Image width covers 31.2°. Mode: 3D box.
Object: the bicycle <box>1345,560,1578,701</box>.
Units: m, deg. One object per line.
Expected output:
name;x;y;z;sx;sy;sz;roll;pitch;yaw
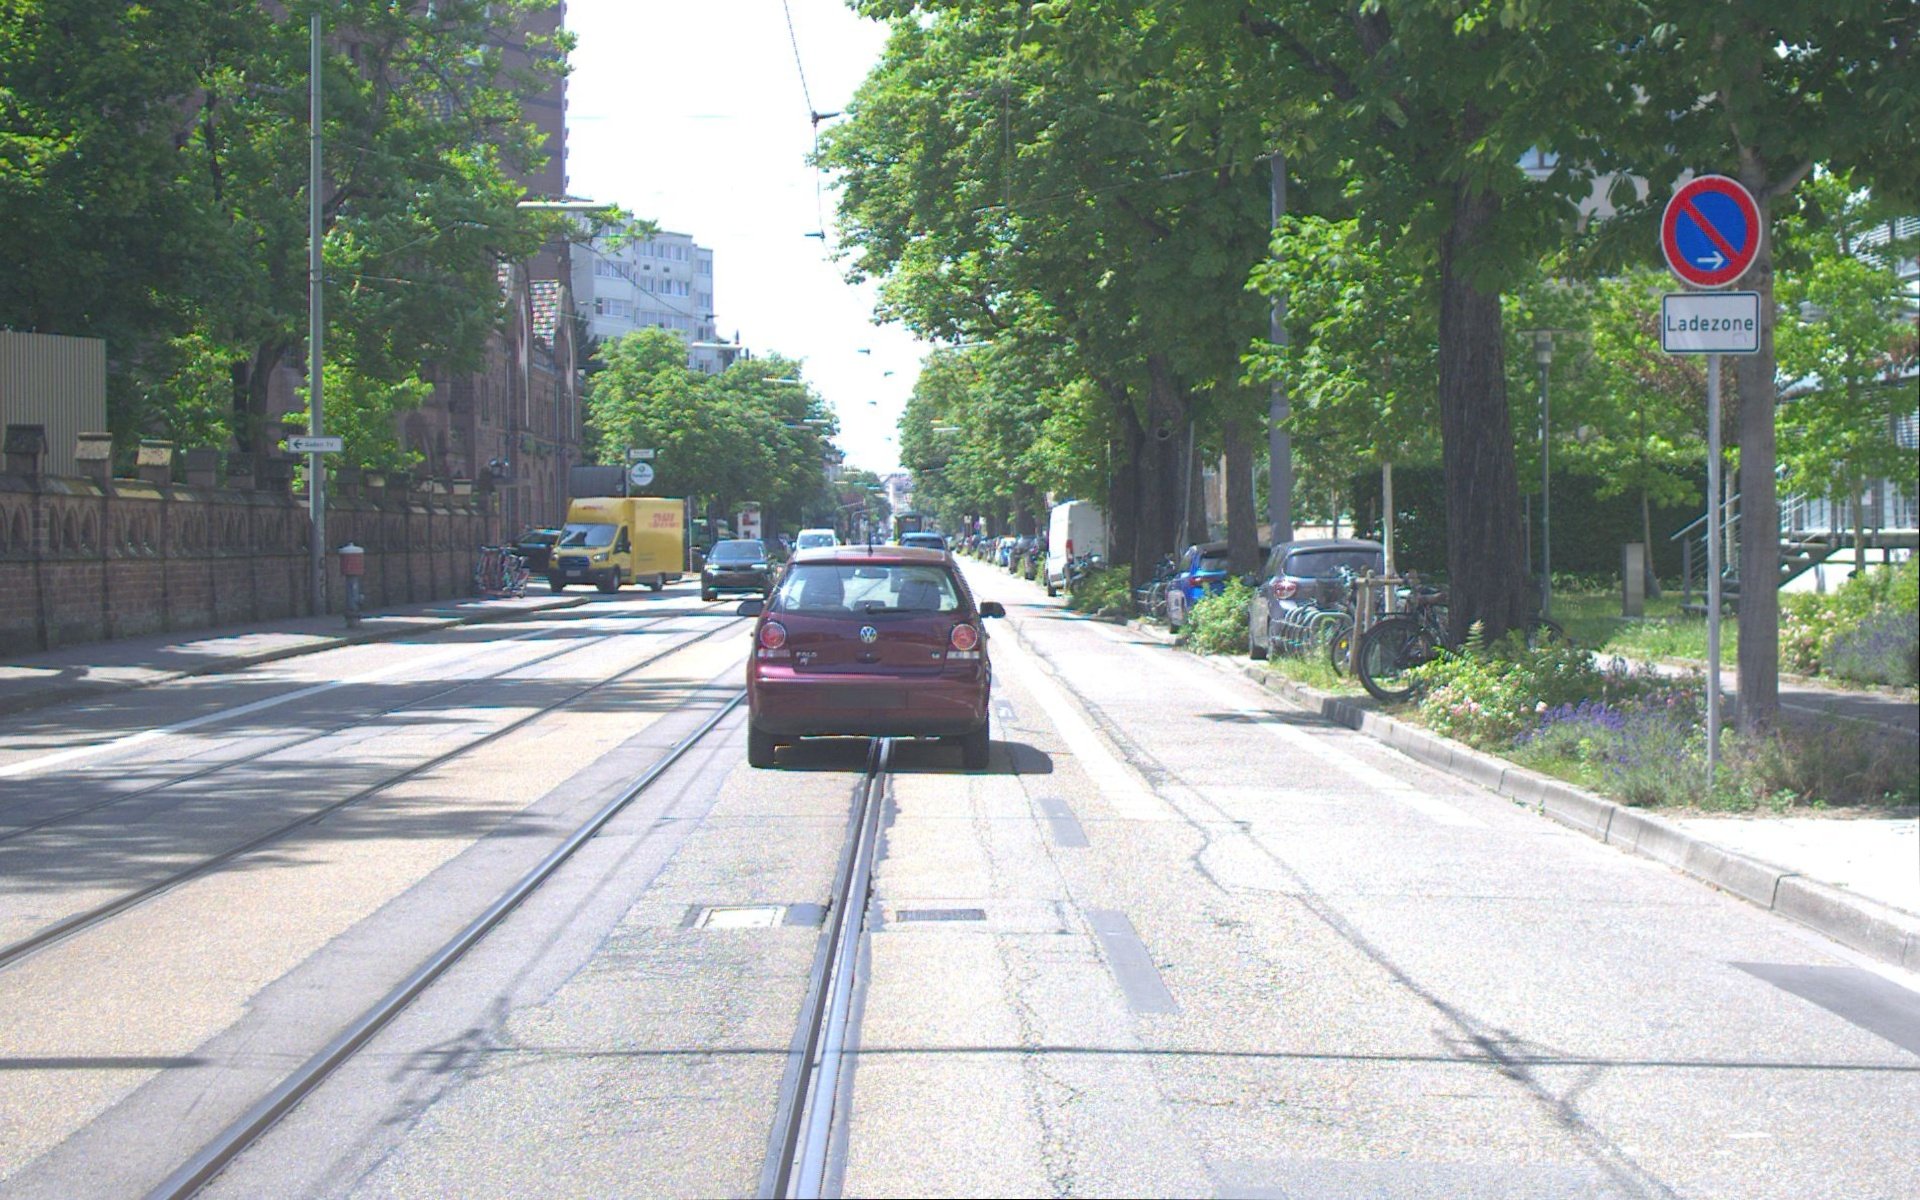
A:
bicycle;4.313;0.256;29.628;1.883;1.178;0.694;-1;1;0

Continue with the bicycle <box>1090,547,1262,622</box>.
bicycle;3.984;-0.286;63.569;3.069;1.308;0.782;1;1;-2

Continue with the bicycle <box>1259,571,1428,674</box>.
bicycle;4.131;0.237;37.048;1.751;1.081;0.548;0;1;0

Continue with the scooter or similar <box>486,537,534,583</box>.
scooter or similar;-11.498;-1.018;87.840;1.088;1.151;0.527;1;1;-21

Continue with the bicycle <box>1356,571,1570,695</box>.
bicycle;4.495;0.295;30.790;1.825;1.081;0.718;-1;0;3

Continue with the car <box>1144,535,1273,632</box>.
car;3.876;-0.284;54.123;1.688;1.463;3.880;0;1;-1

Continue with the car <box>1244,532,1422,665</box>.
car;4.492;-0.051;41.816;1.688;1.497;3.628;-2;1;-1

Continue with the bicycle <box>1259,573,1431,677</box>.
bicycle;4.075;0.259;36.429;1.751;1.081;0.548;0;1;0

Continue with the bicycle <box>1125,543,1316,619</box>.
bicycle;4.733;-0.346;62.558;3.367;1.308;0.782;1;1;-2

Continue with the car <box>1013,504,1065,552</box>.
car;2.823;-2.583;123.207;1.674;1.650;4.000;1;1;-1

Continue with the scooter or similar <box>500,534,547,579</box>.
scooter or similar;-11.336;-1.127;89.279;1.088;1.151;0.527;1;1;-21

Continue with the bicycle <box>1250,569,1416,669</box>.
bicycle;4.094;0.206;37.785;1.751;1.081;0.548;0;1;0

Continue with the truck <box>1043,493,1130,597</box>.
truck;3.330;-1.478;91.369;1.993;2.652;4.875;1;1;-1

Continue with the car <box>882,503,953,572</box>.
car;-1.312;-1.922;105.057;1.993;2.007;4.001;1;1;-3

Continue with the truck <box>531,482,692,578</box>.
truck;-10.449;-2.113;103.791;2.371;2.777;7.315;0;1;15

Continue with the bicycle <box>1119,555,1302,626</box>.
bicycle;4.329;-0.166;59.570;3.069;1.150;0.782;1;1;-2

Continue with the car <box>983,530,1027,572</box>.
car;1.826;-2.025;140.525;1.674;1.650;4.000;1;1;-1

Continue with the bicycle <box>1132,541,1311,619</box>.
bicycle;4.609;-0.362;60.759;3.069;1.308;0.782;1;1;-2

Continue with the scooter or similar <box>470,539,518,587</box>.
scooter or similar;-11.551;-0.917;85.225;1.088;1.151;0.527;1;1;-21

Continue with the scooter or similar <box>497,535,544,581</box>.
scooter or similar;-11.338;-1.085;88.696;1.088;1.151;0.527;1;1;-21

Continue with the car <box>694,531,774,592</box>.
car;-5.684;-0.993;86.903;1.770;1.510;4.000;0;1;0

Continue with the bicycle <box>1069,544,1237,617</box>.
bicycle;3.622;-0.369;64.681;3.069;1.308;0.782;1;1;-2

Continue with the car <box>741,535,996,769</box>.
car;-0.627;0.295;24.016;1.619;1.481;4.000;0;1;-1

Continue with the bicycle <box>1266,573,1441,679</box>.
bicycle;4.088;0.268;35.797;1.751;1.081;0.548;0;1;0

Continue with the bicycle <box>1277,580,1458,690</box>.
bicycle;4.093;0.350;34.587;1.751;1.081;0.548;0;1;0

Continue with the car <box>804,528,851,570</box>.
car;-5.953;-2.315;154.852;1.993;1.848;4.682;0;1;-1
